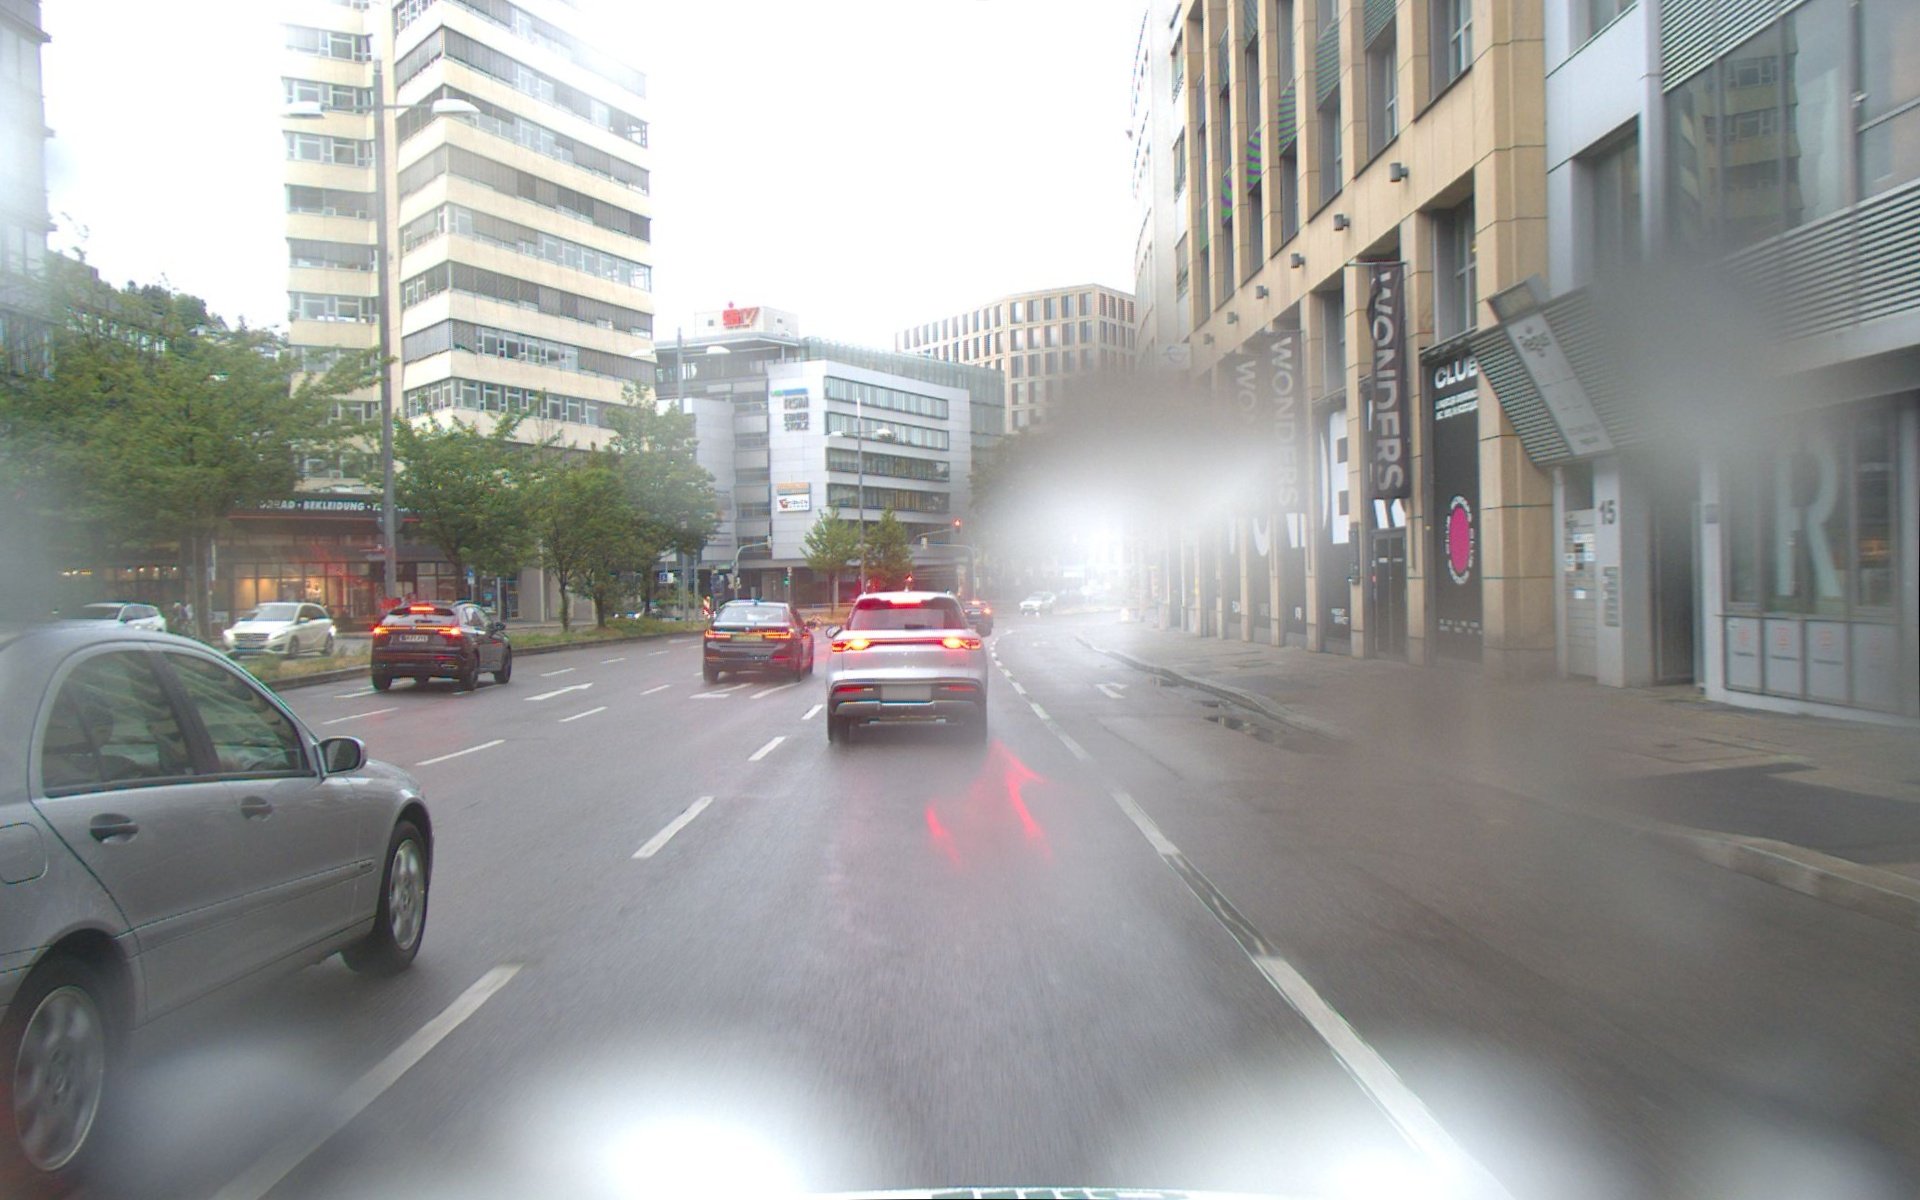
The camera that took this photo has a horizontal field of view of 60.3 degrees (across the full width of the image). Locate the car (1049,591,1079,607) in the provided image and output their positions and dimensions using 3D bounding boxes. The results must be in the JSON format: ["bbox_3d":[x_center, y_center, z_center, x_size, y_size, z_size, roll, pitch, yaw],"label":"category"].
[{"bbox_3d":[11.513,-0.101,182.874,1.822,1.766,3.993,-1,0,29],"label":"car"}]

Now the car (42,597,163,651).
[{"bbox_3d":[-24.751,0.653,47.891,1.591,1.486,3.961,0,0,-3],"label":"car"}]

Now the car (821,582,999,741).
[{"bbox_3d":[-0.561,0.645,19.411,1.862,1.650,3.999,-1,0,-1],"label":"car"}]

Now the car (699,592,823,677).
[{"bbox_3d":[-3.836,0.627,32.642,1.834,1.505,4.878,-1,0,0],"label":"car"}]

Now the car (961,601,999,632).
[{"bbox_3d":[1.133,0.912,92.675,1.773,1.606,4.003,-1,0,5],"label":"car"}]

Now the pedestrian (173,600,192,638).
[{"bbox_3d":[-31.910,0.790,67.886,0.597,1.530,0.431,-1,0,-39],"label":"pedestrian"}]

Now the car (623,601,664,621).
[{"bbox_3d":[-18.551,0.619,97.157,1.547,1.109,4.001,-1,0,1],"label":"car"}]

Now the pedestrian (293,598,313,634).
[{"bbox_3d":[-31.568,0.764,79.520,0.746,1.743,0.585,-1,0,-39],"label":"pedestrian"}]

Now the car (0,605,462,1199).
[{"bbox_3d":[-2.996,0.773,5.125,1.638,1.505,4.359,0,0,-1],"label":"car"}]

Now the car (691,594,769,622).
[{"bbox_3d":[-11.563,0.392,83.110,3.922,1.365,1.652,-1,0,38],"label":"car"}]

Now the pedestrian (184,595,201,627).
[{"bbox_3d":[-36.932,0.526,79.560,0.661,1.530,0.431,-1,0,-39],"label":"pedestrian"}]

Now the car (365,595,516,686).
[{"bbox_3d":[-9.244,0.702,29.733,1.739,1.482,3.995,-1,0,-5],"label":"car"}]

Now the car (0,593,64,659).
[{"bbox_3d":[-24.595,0.639,41.974,1.591,1.639,4.230,0,0,-3],"label":"car"}]

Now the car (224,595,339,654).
[{"bbox_3d":[-18.964,0.678,46.397,1.591,1.518,4.304,-1,0,-3],"label":"car"}]

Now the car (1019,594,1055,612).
[{"bbox_3d":[6.912,0.281,147.951,1.551,1.565,3.993,-1,0,29],"label":"car"}]
